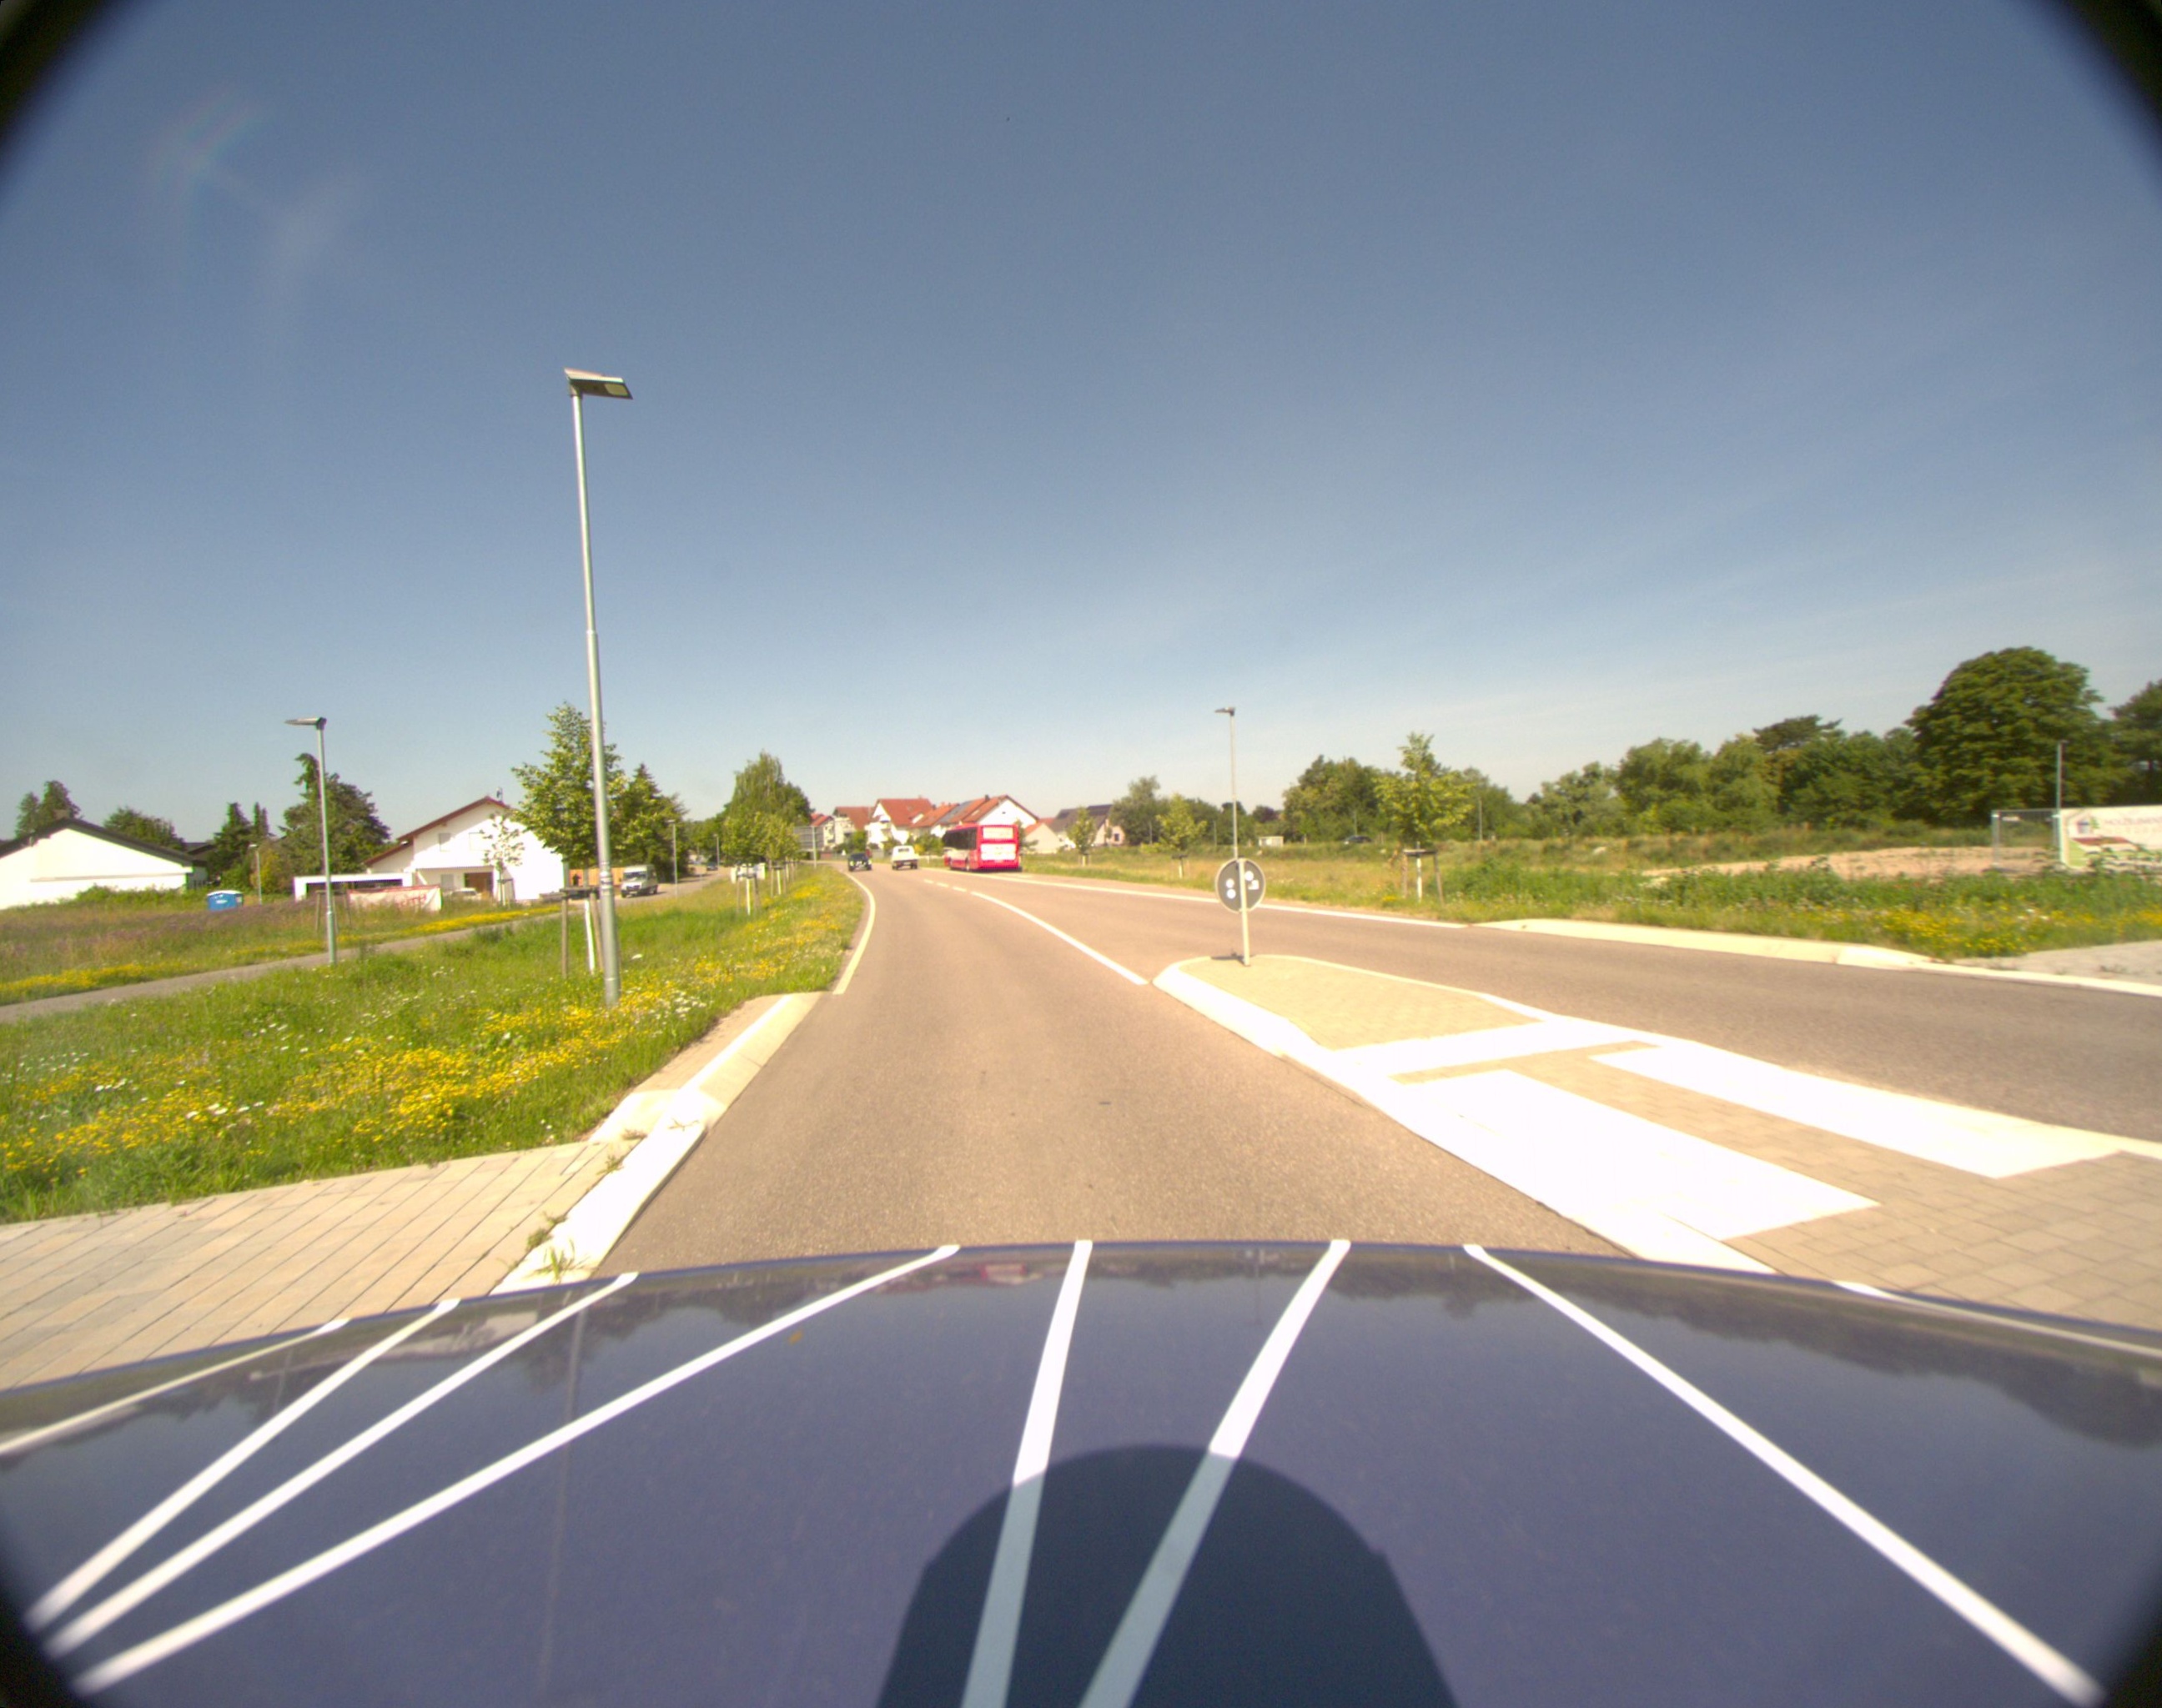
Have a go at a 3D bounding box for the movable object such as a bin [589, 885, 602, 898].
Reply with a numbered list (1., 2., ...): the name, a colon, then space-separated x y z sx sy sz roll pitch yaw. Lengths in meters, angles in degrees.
1. movable object such as a bin: -38.361 2.935 60.045 0.695 0.932 0.637 -4 2 -15

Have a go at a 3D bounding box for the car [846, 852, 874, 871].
1. car: -20.037 0.651 68.824 1.936 1.552 3.993 -3 1 -22

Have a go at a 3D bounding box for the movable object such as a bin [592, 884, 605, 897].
1. movable object such as a bin: -38.542 2.919 60.712 0.695 0.932 0.637 -4 2 -15

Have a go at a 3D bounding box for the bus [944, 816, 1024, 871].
1. bus: -6.805 -0.662 51.044 2.806 3.268 12.208 -1 0 -19

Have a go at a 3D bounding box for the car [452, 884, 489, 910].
1. car: -43.603 3.029 54.350 1.566 1.549 4.476 -6 3 -34

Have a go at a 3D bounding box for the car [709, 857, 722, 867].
1. car: -66.371 1.431 138.086 1.866 1.437 4.160 -6 3 -23

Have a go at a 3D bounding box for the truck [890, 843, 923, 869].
1. truck: -14.772 0.131 64.109 1.959 1.974 5.634 -5 2 -20

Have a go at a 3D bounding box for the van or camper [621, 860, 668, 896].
1. van or camper: -36.679 1.944 64.004 2.180 2.586 6.019 -5 3 -19

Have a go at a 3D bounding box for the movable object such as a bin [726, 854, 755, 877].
1. movable object such as a bin: -38.971 1.264 87.149 2.325 2.449 6.934 -3 1 -19
